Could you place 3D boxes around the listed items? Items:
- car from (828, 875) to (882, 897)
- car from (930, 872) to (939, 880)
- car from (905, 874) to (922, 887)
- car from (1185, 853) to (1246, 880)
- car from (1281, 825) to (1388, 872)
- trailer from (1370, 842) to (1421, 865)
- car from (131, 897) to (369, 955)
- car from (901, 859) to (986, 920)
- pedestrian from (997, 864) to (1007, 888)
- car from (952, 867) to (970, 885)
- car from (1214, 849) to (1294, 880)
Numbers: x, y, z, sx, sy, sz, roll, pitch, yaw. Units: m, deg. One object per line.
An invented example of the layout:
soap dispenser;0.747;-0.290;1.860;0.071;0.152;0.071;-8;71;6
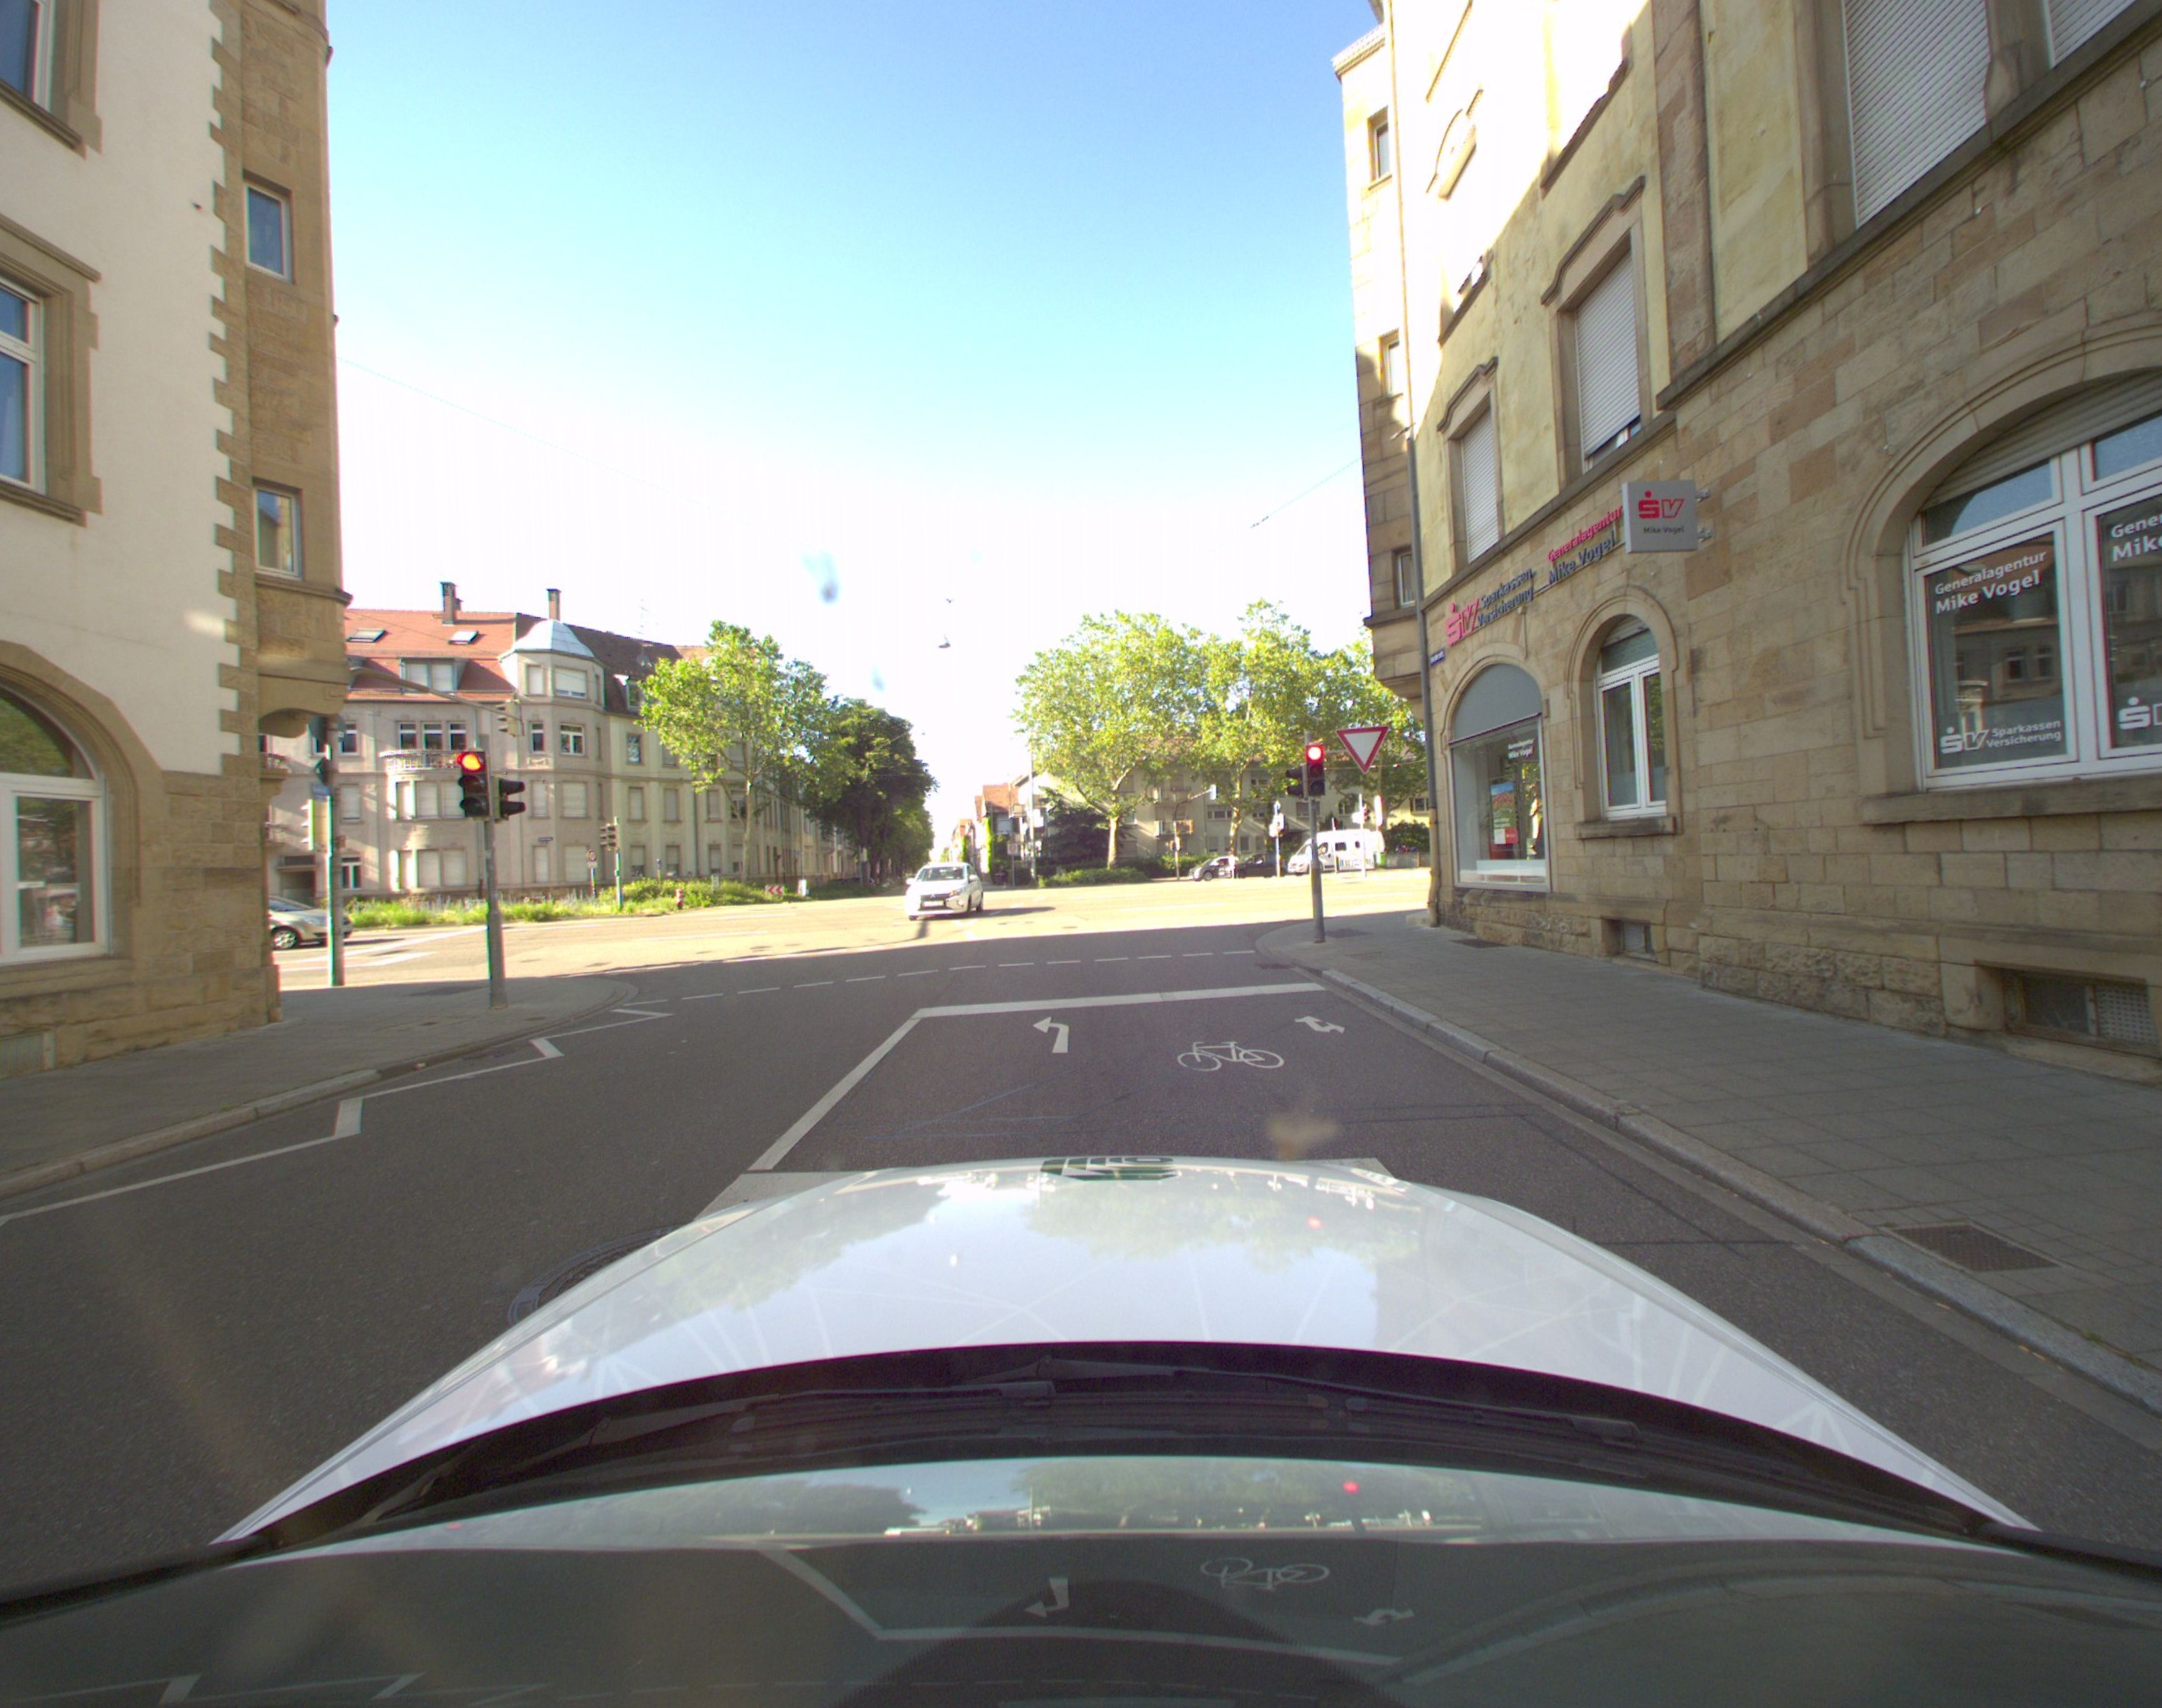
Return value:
car;-17.905;2.547;64.650;3.997;1.486;1.672;-3;0;-17
car;-28.808;4.391;159.812;1.674;1.483;3.510;-2;-1;-9
car;-20.639;3.229;100.256;1.995;1.445;3.983;-3;0;-12
car;8.383;0.770;50.894;3.391;1.487;1.515;-3;0;-20
car;15.502;-0.337;49.831;6.054;2.568;1.989;-3;0;-17
trailer;19.759;-0.011;51.131;2.747;1.311;1.263;-3;0;-17
car;-21.772;1.845;21.542;3.995;1.319;1.812;0;-2;-16
car;-3.712;0.913;22.641;1.619;1.472;3.799;-3;0;0
pedestrian;-5.844;1.613;60.502;0.631;1.750;0.658;-2;-1;-2
car;-14.057;2.563;95.463;1.992;2.013;3.989;-3;0;-8
car;9.557;0.557;45.037;3.996;1.451;1.650;-3;0;-16
